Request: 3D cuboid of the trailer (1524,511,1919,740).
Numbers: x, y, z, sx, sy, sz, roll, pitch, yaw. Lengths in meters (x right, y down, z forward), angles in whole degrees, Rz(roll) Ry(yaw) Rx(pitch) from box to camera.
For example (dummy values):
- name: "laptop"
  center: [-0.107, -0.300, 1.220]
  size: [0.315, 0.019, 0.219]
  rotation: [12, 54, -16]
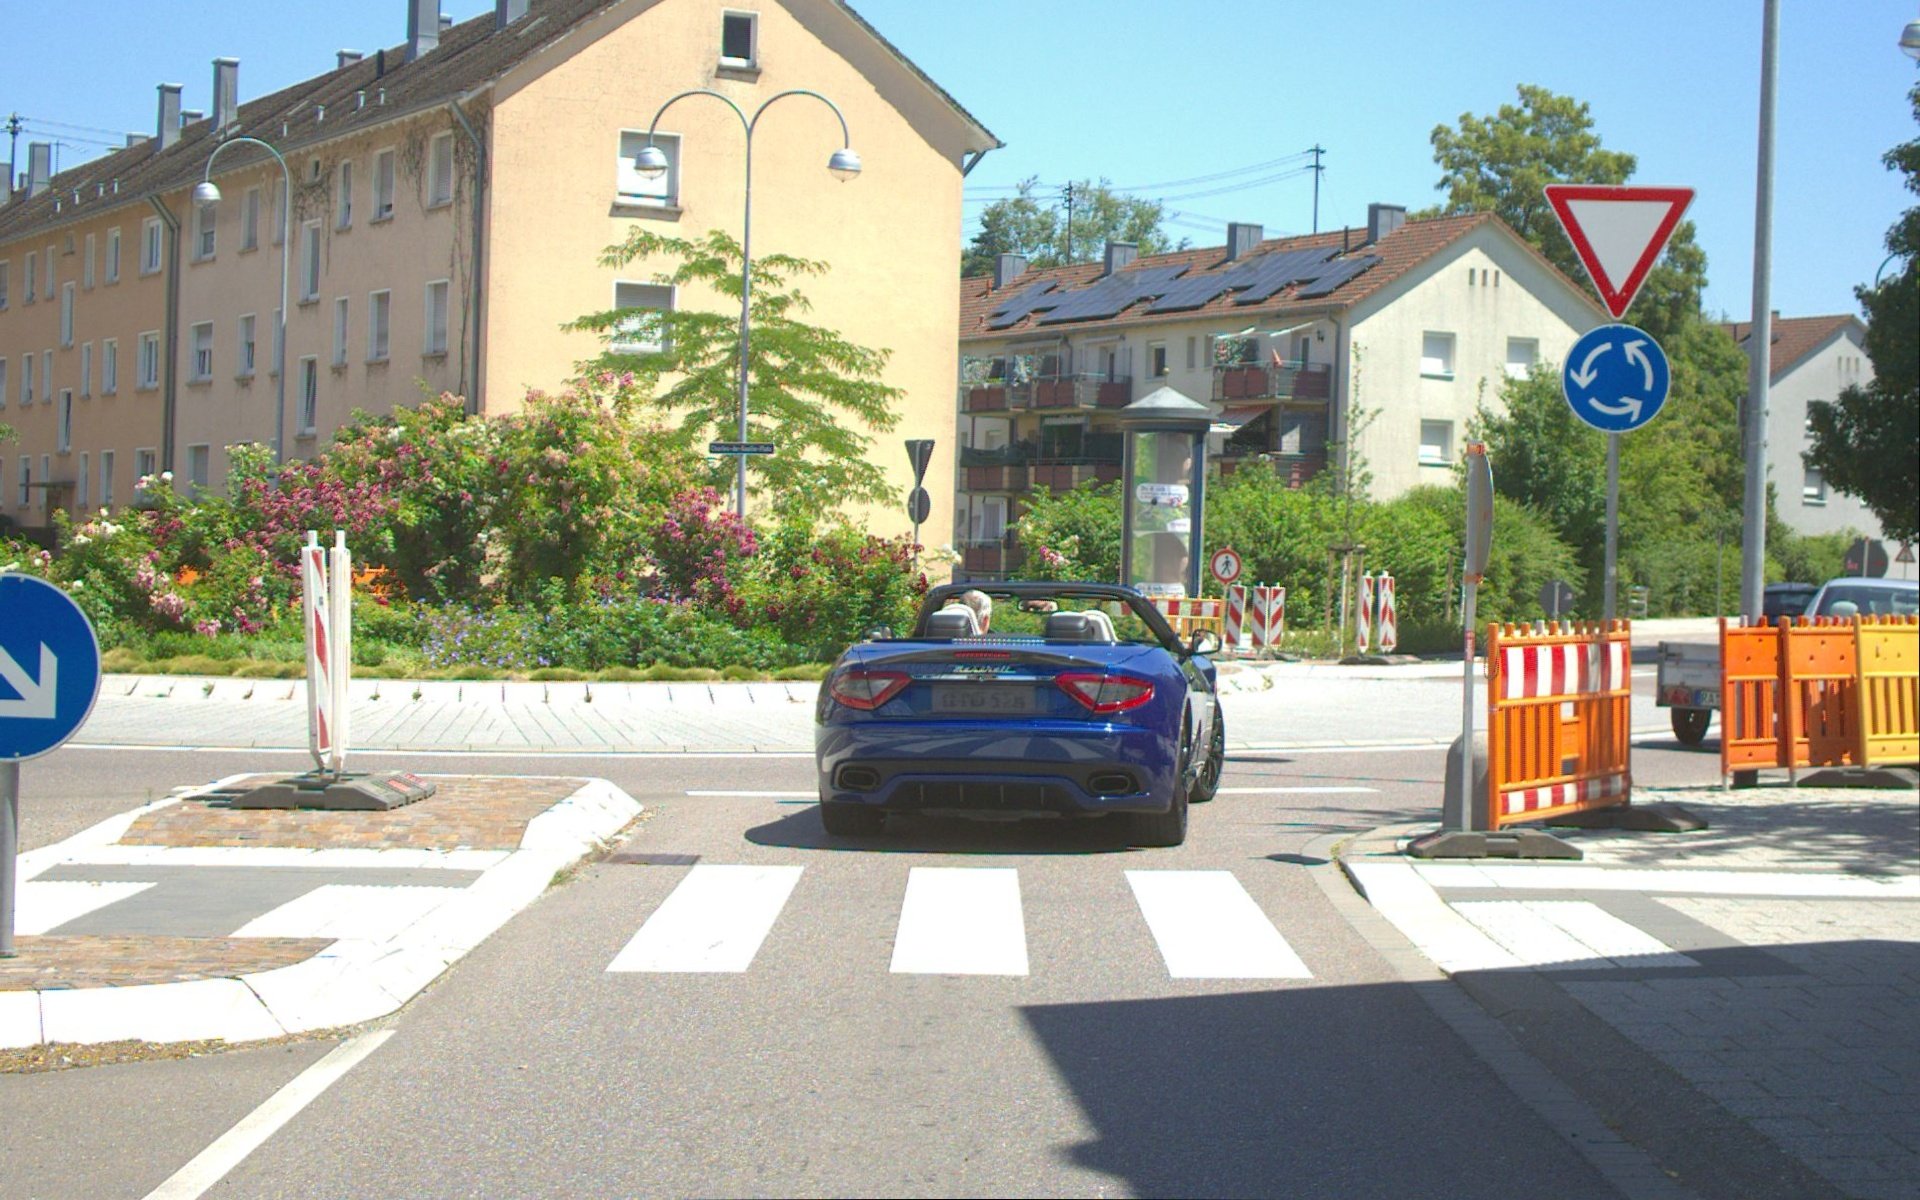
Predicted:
- name: "trailer"
  center: [6.332, 0.204, 27.408]
  size: [3.187, 1.711, 1.757]
  rotation: [1, 1, -31]

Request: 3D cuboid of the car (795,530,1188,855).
- name: "car"
  center: [0.257, 0.464, 19.029]
  size: [1.871, 1.525, 4.506]
  rotation: [2, 0, 3]

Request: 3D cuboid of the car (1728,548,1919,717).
- name: "car"
  center: [8.039, 0.253, 30.931]
  size: [1.739, 1.431, 3.710]
  rotation: [0, 1, 5]
